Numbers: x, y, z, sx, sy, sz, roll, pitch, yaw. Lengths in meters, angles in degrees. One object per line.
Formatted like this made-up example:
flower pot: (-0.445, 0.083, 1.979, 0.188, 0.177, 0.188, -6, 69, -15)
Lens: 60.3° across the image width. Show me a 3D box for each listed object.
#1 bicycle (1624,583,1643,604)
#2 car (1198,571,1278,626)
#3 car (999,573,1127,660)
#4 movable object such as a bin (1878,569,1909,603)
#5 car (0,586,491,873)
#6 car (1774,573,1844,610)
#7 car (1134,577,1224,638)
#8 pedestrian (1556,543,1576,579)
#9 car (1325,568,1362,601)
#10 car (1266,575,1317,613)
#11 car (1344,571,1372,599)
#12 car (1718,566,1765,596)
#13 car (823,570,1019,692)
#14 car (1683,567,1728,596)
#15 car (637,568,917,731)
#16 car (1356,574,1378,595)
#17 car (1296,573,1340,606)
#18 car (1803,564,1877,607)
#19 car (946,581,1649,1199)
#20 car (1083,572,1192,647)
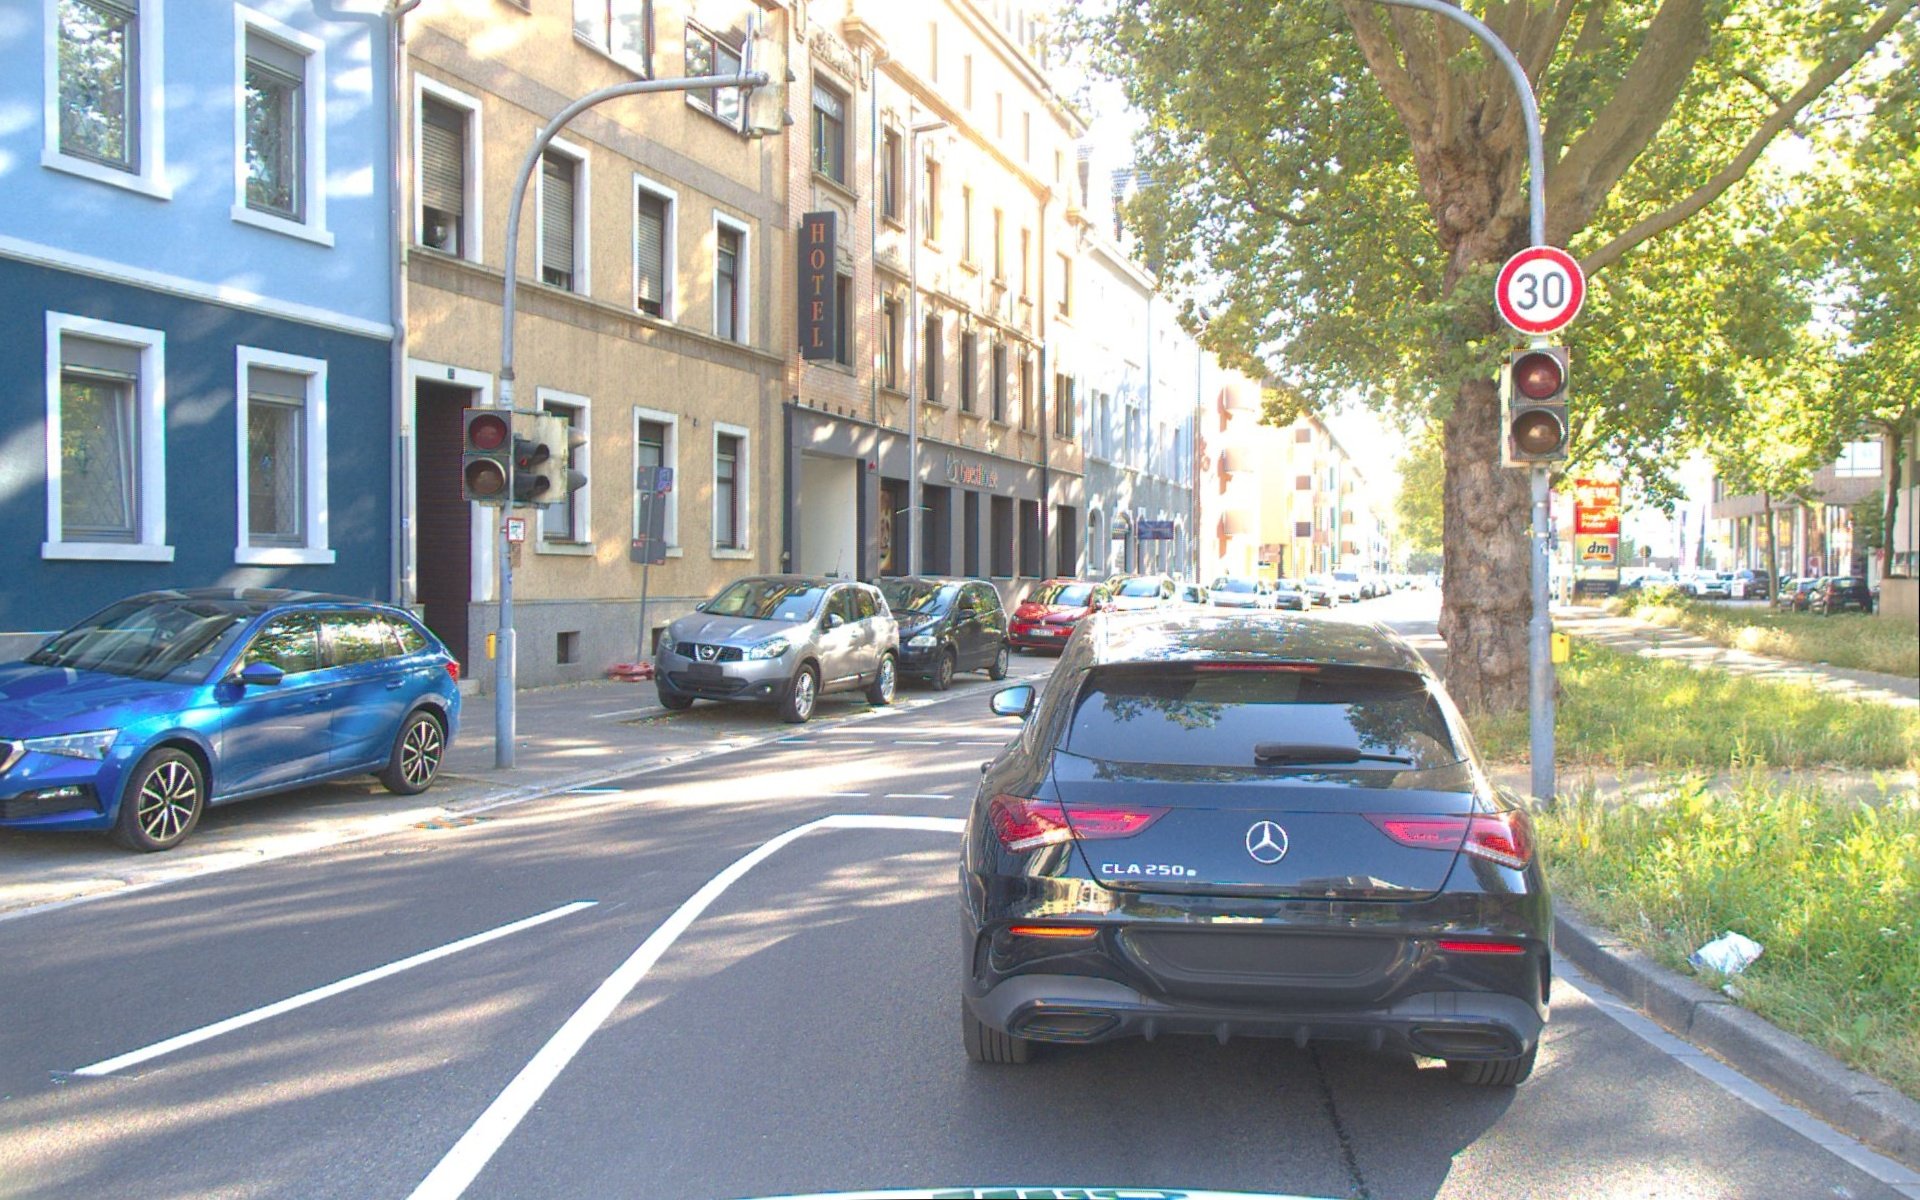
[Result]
bicycle: (32.716, -0.335, 80.361, 0.375, 1.021, 1.487, 0, 1, 1)
car: (9.205, -0.093, 54.528, 1.868, 1.670, 4.579, 2, 2, 19)
car: (2.164, 0.277, 33.828, 1.643, 1.620, 3.758, 2, 1, 19)
movable object such as a bin: (41.208, -0.624, 73.058, 1.170, 1.488, 1.405, 0, 1, 29)
car: (-5.167, 0.703, 11.482, 1.615, 1.512, 4.265, 2, 1, 17)
car: (35.449, -0.364, 69.169, 1.819, 1.494, 4.127, 0, 1, 16)
car: (5.951, 0.159, 44.597, 1.643, 1.522, 3.873, 2, 1, 19)
pedestrian: (30.587, -1.951, 83.487, 0.751, 1.792, 0.664, -2, 0, 8)
car: (23.630, -0.989, 101.692, 1.698, 1.940, 5.211, 1, 1, 19)
car: (13.983, -0.272, 69.716, 1.643, 1.512, 3.603, 2, 1, 19)
car: (27.558, -1.064, 114.513, 1.708, 1.818, 4.553, 2, 1, 16)
car: (47.698, -1.157, 101.015, 1.944, 1.764, 4.184, 0, 1, 16)
car: (-0.496, 0.398, 24.770, 1.643, 1.632, 3.706, 2, 1, 21)
car: (45.839, -1.154, 101.748, 1.836, 1.764, 4.184, 0, 1, 15)
car: (-2.072, 0.488, 19.979, 1.744, 1.702, 4.158, 2, 1, 19)
car: (31.539, -1.234, 128.023, 1.515, 1.550, 4.008, 2, 1, 16)
car: (17.849, -0.527, 82.376, 1.643, 1.550, 4.023, 2, 1, 19)
car: (33.275, -0.572, 62.659, 1.820, 1.580, 3.762, 0, 1, 18)
car: (1.066, 0.710, 6.152, 1.707, 1.468, 3.972, 2, 1, 7)
car: (4.194, 0.170, 38.557, 1.643, 1.612, 4.202, 2, 1, 19)
